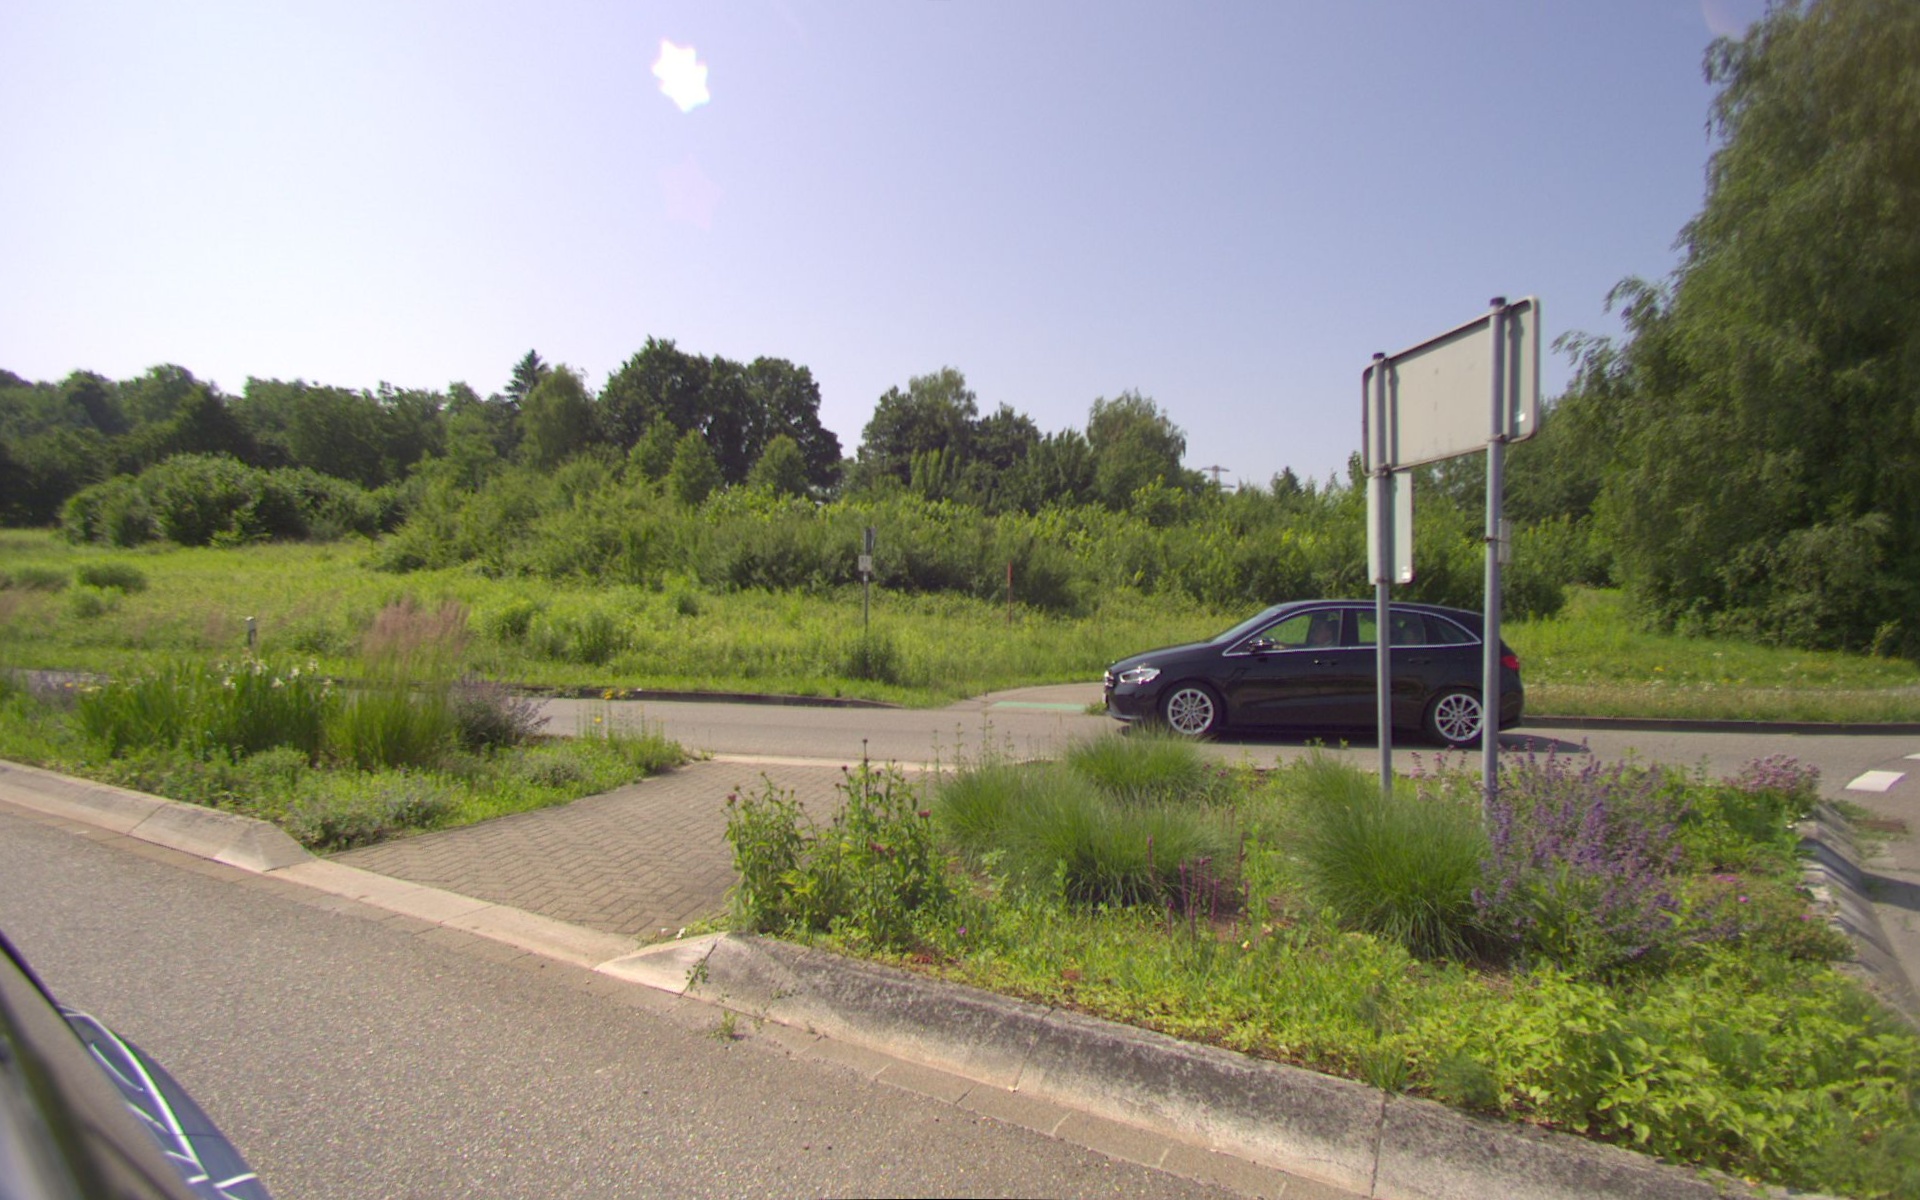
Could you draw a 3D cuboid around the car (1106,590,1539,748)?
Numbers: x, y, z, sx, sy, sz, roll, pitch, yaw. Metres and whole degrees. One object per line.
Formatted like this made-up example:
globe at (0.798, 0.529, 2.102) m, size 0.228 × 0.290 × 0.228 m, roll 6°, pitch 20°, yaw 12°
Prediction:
car at (3.767, 0.708, 11.170) m, size 4.161 × 1.542 × 1.754 m, roll 0°, pitch -2°, yaw 6°
